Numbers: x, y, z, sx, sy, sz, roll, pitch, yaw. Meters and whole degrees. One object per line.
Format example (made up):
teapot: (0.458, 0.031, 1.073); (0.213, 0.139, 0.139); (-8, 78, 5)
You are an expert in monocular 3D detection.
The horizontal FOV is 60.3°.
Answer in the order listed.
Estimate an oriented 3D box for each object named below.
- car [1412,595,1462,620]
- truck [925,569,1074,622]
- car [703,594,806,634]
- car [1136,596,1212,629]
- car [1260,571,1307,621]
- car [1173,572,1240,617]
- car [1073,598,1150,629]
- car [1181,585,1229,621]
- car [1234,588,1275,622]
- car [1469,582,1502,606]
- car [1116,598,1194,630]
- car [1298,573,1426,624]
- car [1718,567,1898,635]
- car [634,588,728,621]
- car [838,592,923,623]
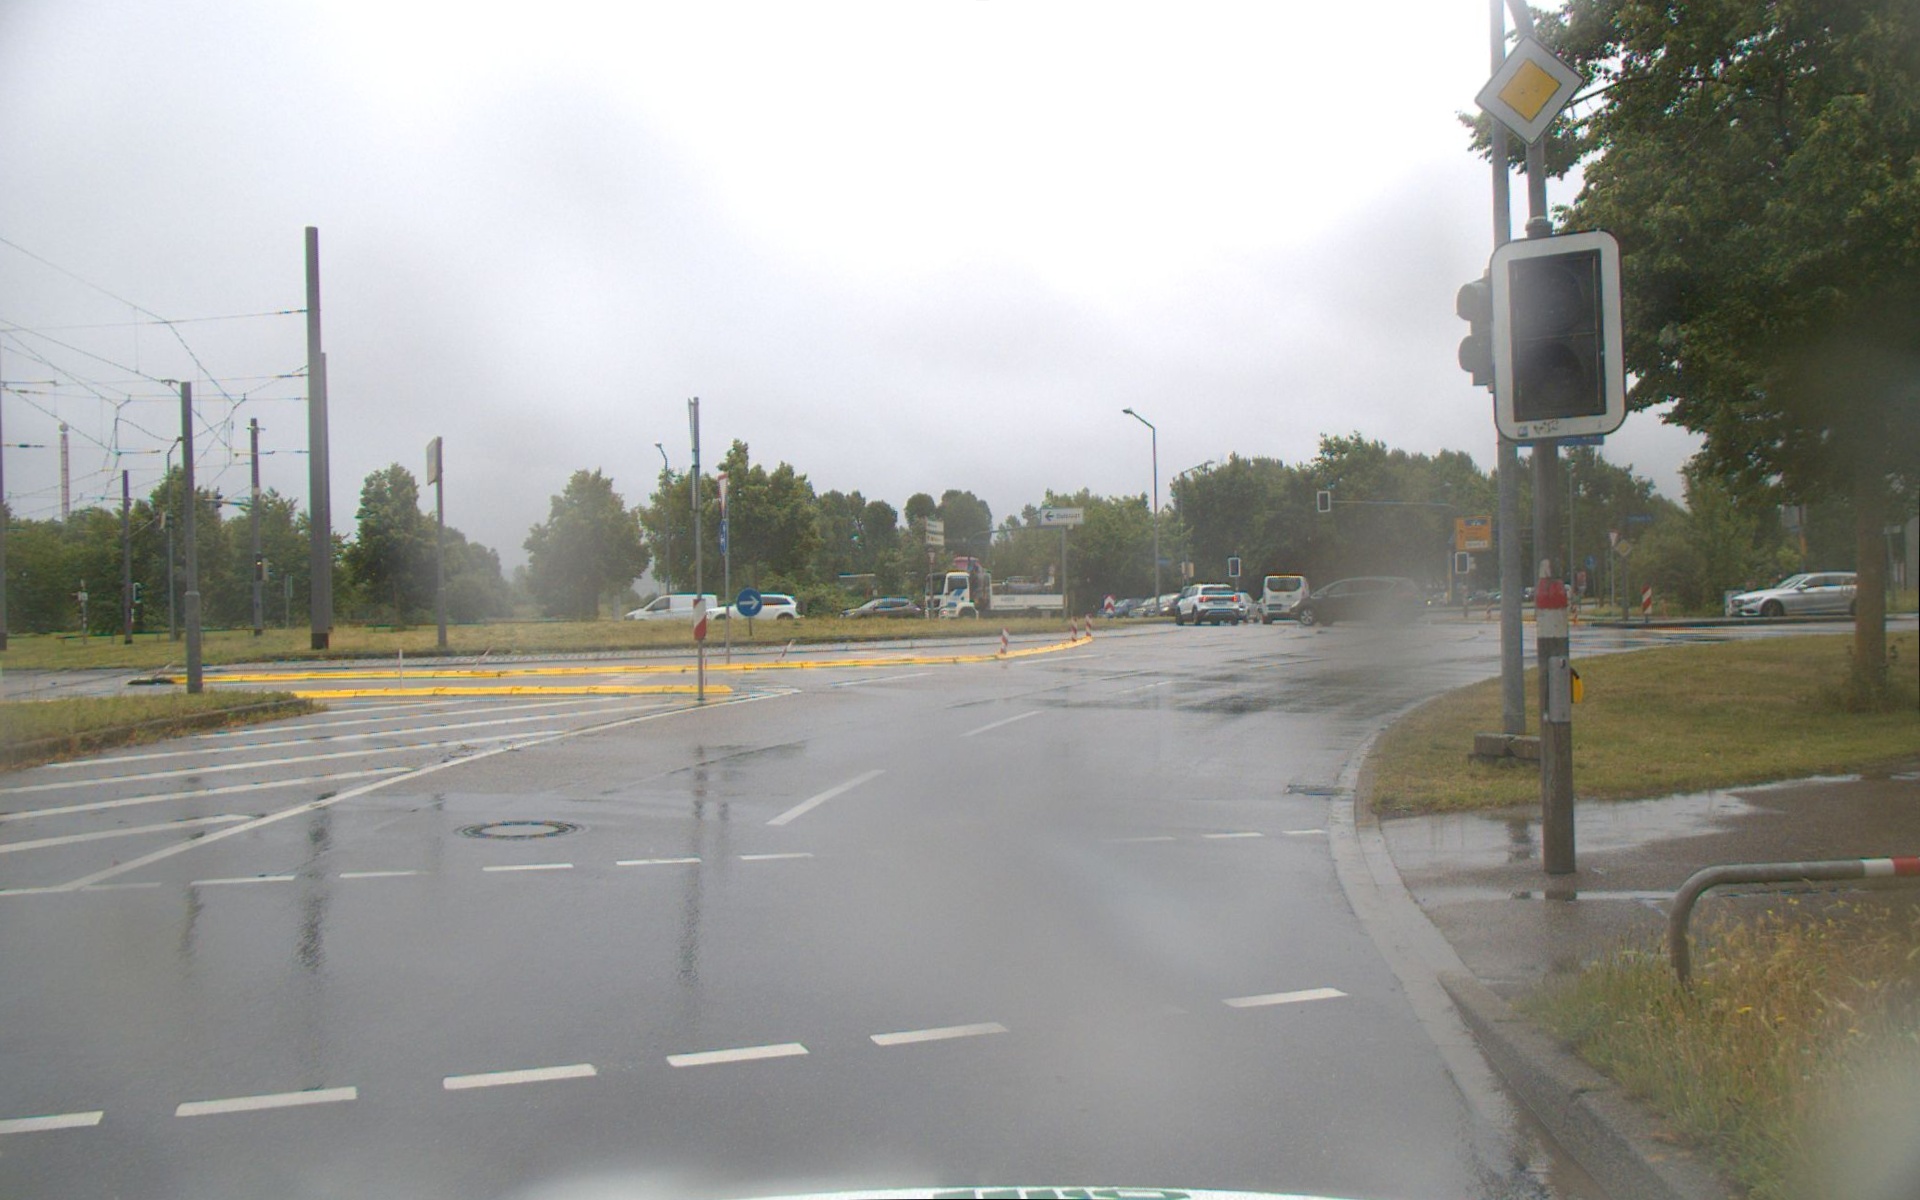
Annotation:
car: (35.083, 0.580, 121.593); (1.965, 1.780, 3.975); (1, 0, 42)
truck: (2.295, -0.222, 92.722); (8.680, 2.759, 1.979); (1, -1, -31)
car: (-9.730, 0.665, 78.278); (4.762, 1.774, 1.773); (1, 0, -10)
car: (11.955, 0.712, 92.062); (1.747, 1.774, 4.835); (1, 0, 43)
car: (13.955, -0.152, 71.274); (1.745, 2.072, 4.003); (1, 0, 14)
car: (9.657, -0.191, 65.026); (1.648, 1.676, 3.941); (1, 0, -7)
car: (9.097, 0.801, 98.950); (4.821, 1.774, 1.752); (1, 0, -41)
car: (10.760, 0.161, 72.494); (1.653, 1.518, 3.253); (1, 0, 15)
car: (13.982, 0.241, 78.356); (1.653, 1.518, 3.253); (1, 0, 14)
car: (45.977, -0.522, 144.668); (1.758, 2.049, 3.659); (1, 0, 36)
car: (11.430, 0.831, 96.724); (4.821, 1.774, 1.752); (1, 0, -41)
car: (13.837, -0.055, 56.989); (3.920, 1.676, 1.782); (1, 0, 36)
car: (26.821, 0.026, 52.404); (4.724, 1.842, 1.789); (-3, 1, -1)
car: (-13.753, 0.232, 81.465); (4.457, 1.518, 1.606); (1, 0, -14)
car: (-4.088, 0.412, 84.958); (4.089, 1.518, 1.597); (1, 0, -27)
